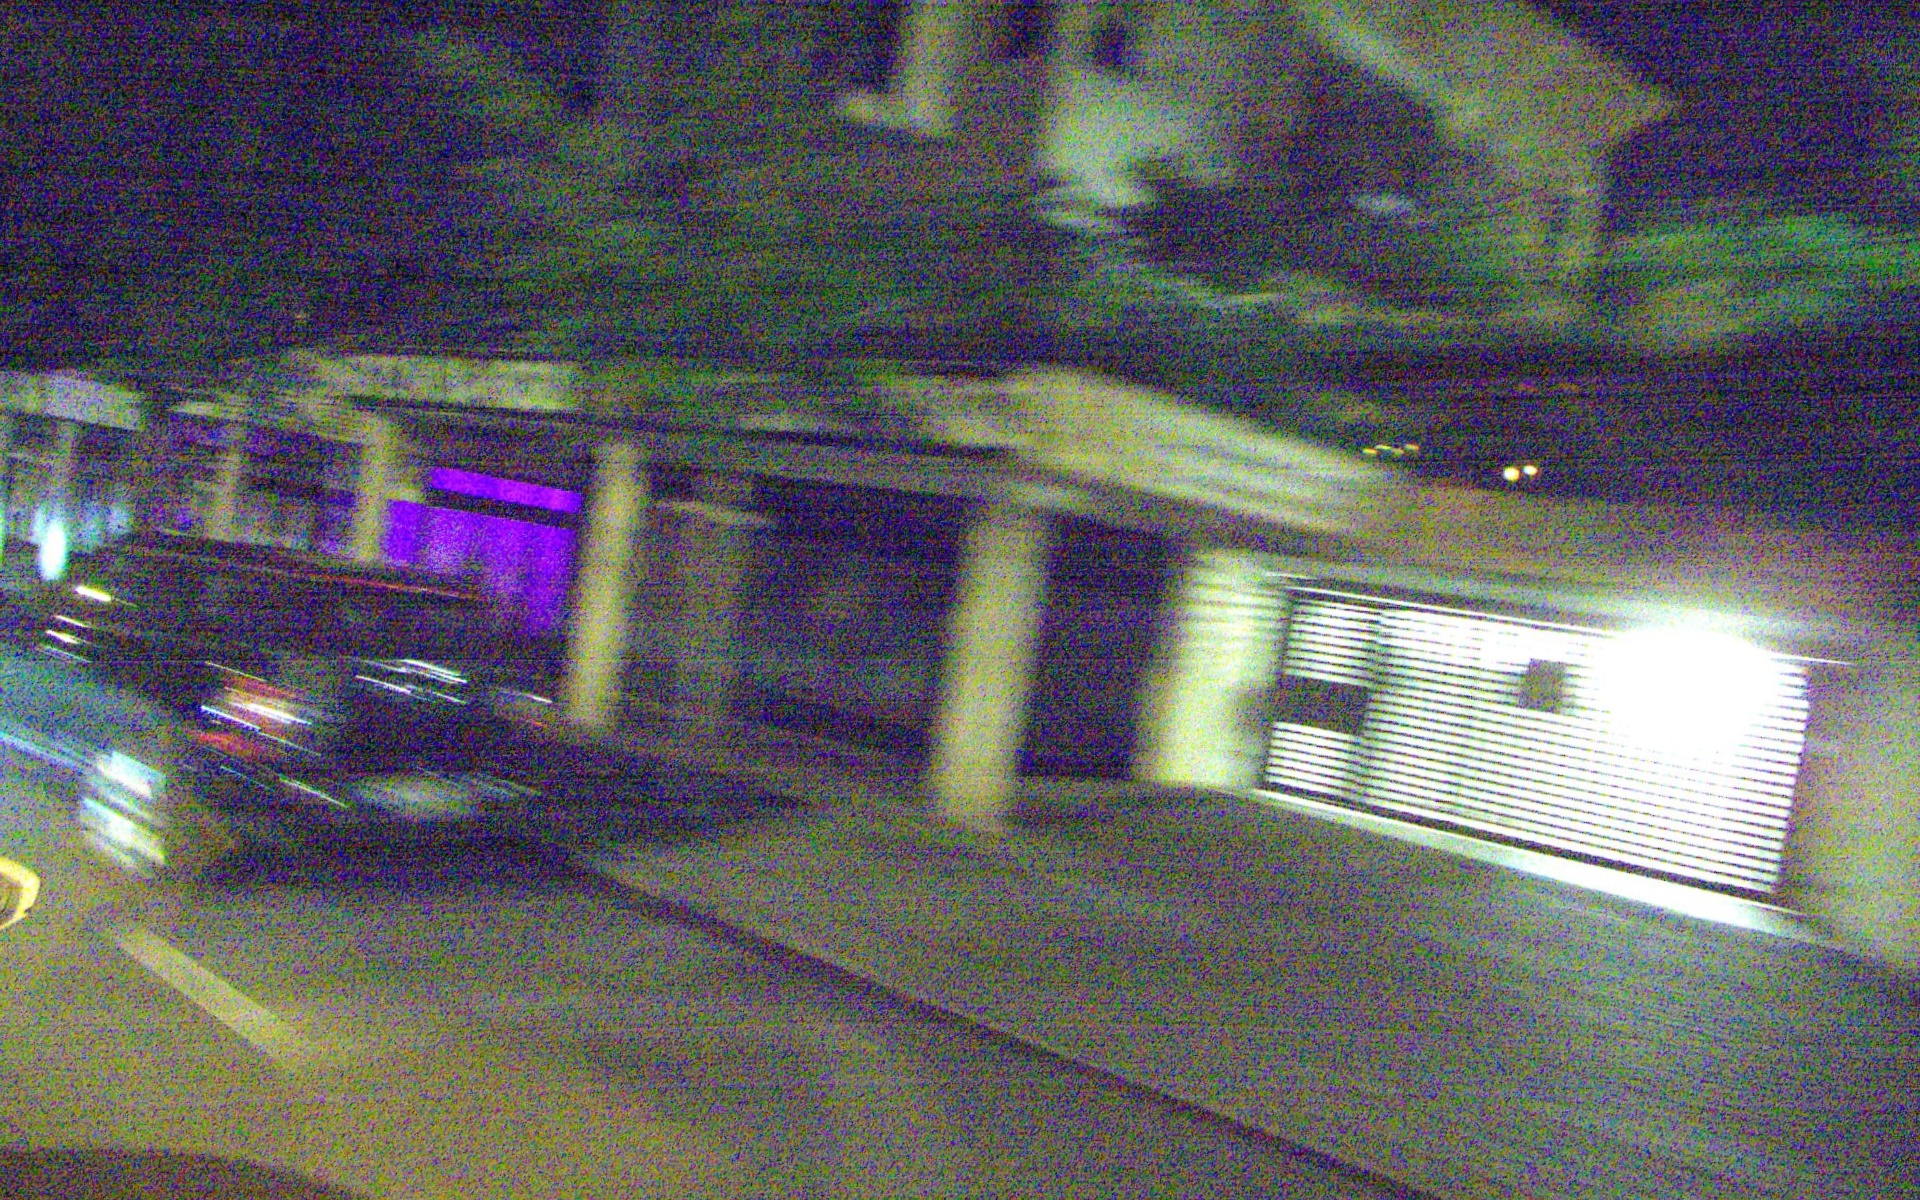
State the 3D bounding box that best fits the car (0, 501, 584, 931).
[{"bbox_3d":[-4.033,0.369,5.372,3.799,1.456,1.633,7,-1,30],"label":"car"}]
